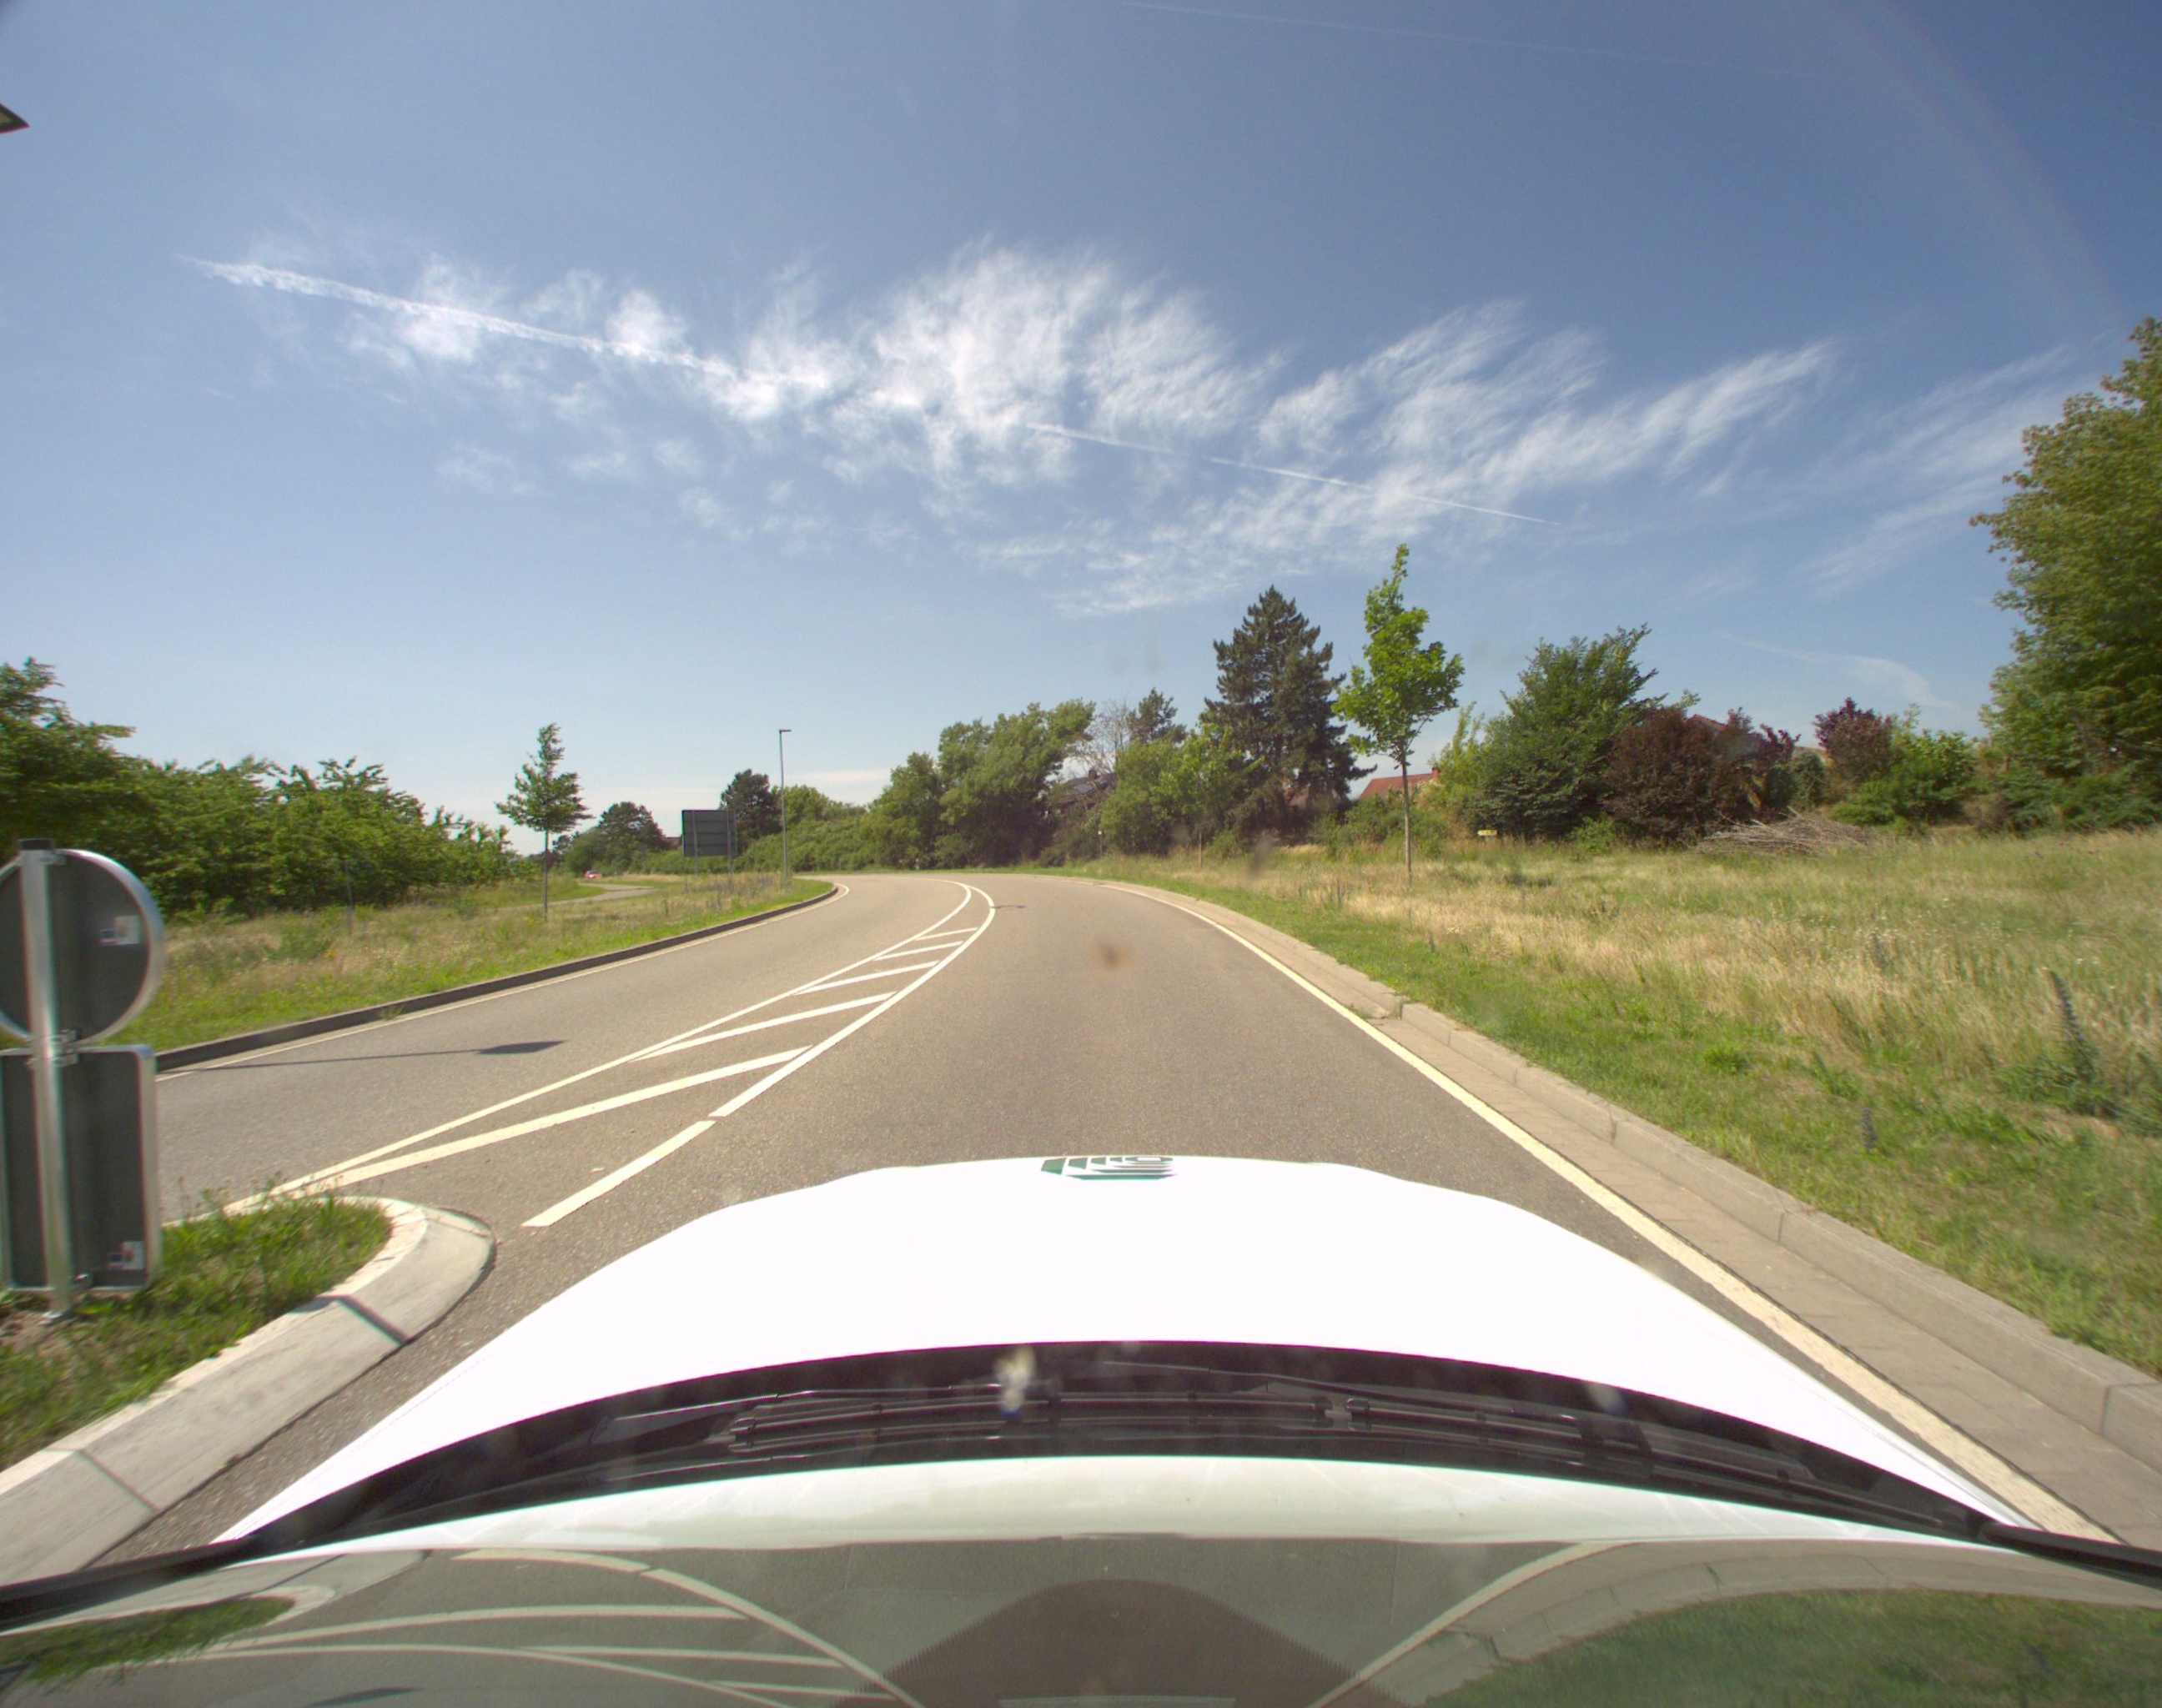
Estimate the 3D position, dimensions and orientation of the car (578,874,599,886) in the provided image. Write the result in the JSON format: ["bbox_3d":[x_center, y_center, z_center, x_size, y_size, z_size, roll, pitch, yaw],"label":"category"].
[{"bbox_3d":[-67.444,3.592,111.569,1.670,1.433,3.690,-4,1,-43],"label":"car"}]
